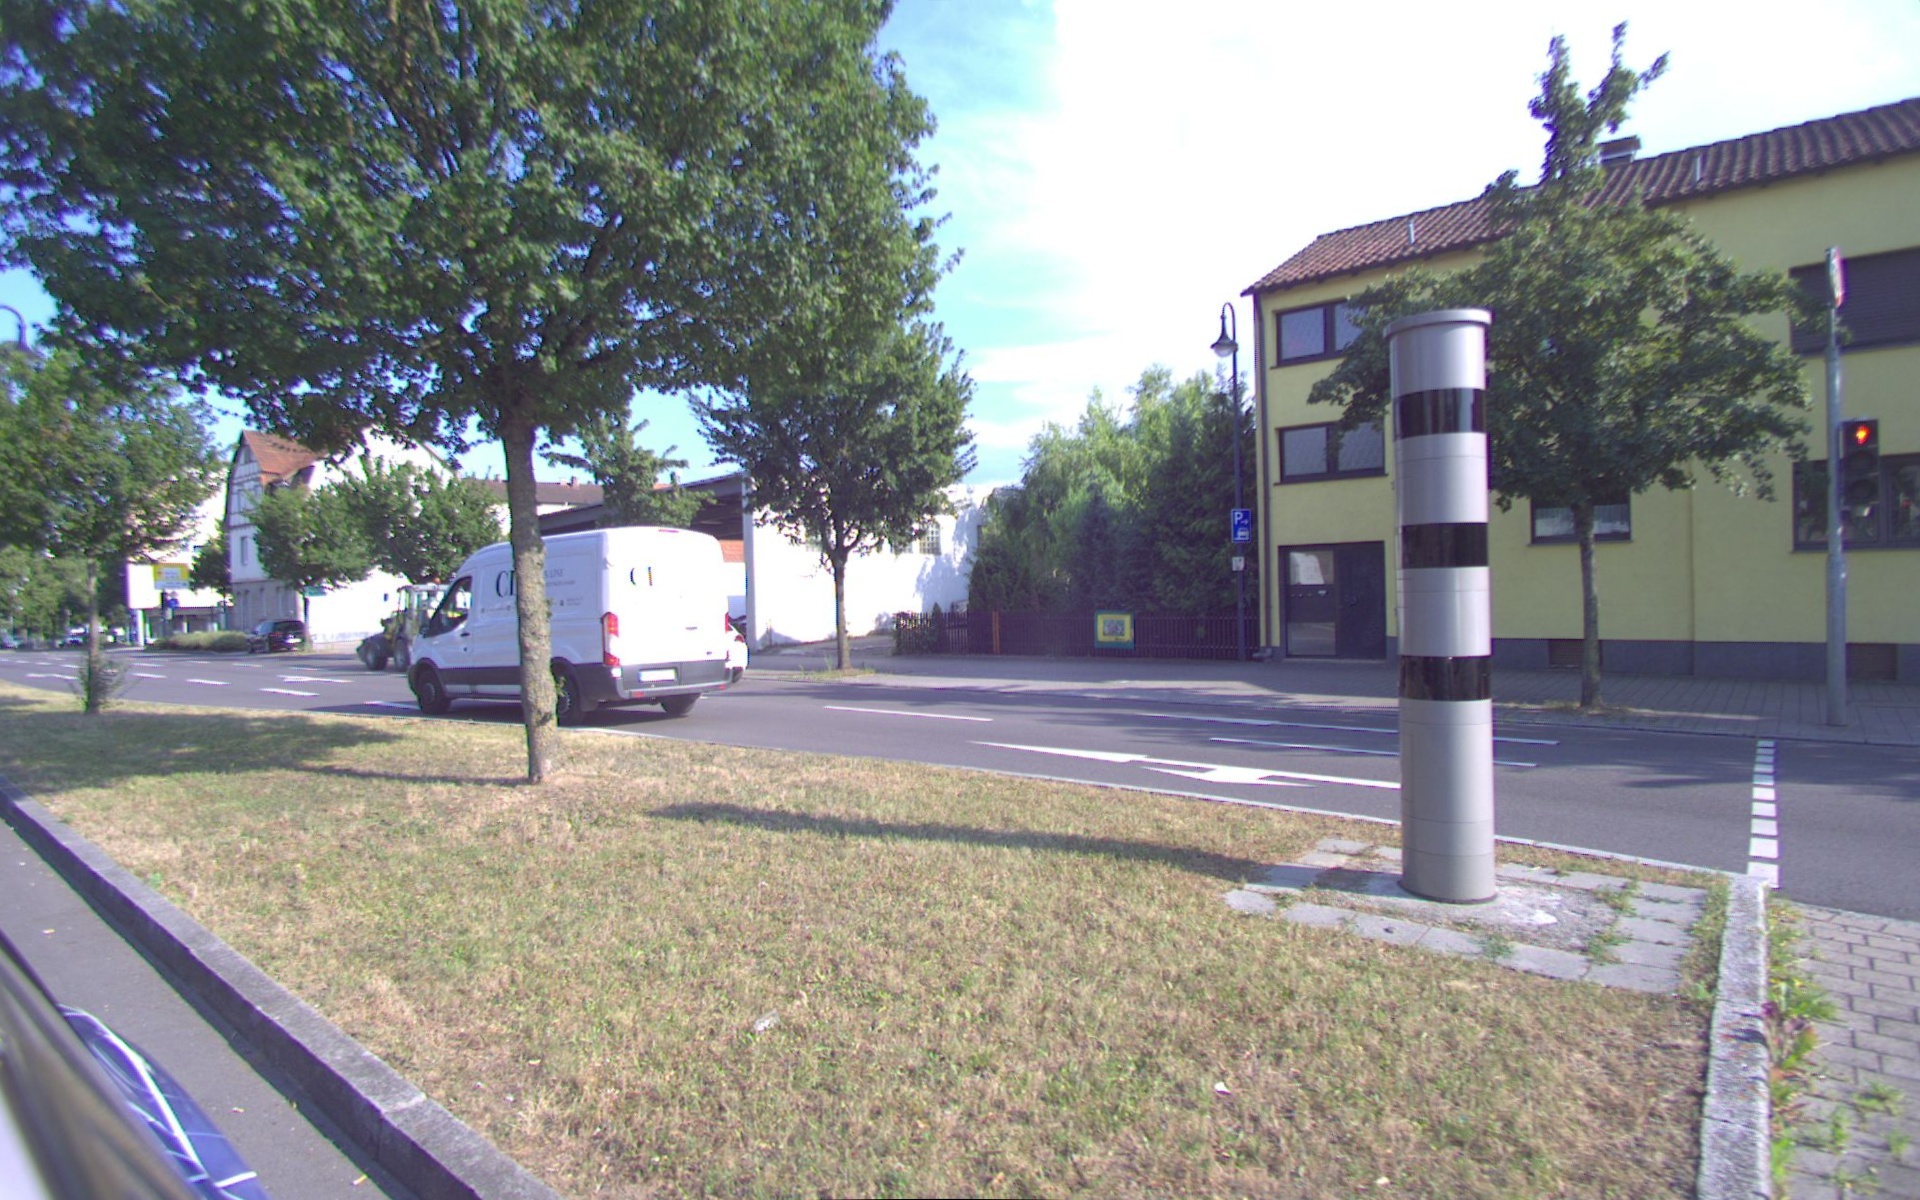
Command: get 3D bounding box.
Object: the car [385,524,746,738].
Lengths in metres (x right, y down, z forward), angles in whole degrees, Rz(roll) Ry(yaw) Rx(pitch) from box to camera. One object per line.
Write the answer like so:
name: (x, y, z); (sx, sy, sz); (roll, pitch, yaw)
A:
car: (-5.683, 0.420, 14.226); (5.467, 2.494, 2.066); (-2, -1, 36)

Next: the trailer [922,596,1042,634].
trailer: (0.740, 0.477, 33.591); (3.312, 1.121, 2.173); (-2, 0, -34)

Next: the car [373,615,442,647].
car: (-29.311, 1.615, 53.797); (1.835, 1.638, 3.411); (-1, -1, -1)

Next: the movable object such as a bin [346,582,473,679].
movable object such as a bin: (-15.356, 0.850, 28.109); (4.976, 2.480, 1.536); (-2, -2, 42)

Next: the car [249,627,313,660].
car: (-30.970, 1.968, 46.147); (3.432, 1.327, 1.651); (-2, 2, 44)

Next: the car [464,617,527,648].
car: (-23.905, 1.659, 52.181); (1.599, 1.555, 3.430); (-1, -1, 1)
